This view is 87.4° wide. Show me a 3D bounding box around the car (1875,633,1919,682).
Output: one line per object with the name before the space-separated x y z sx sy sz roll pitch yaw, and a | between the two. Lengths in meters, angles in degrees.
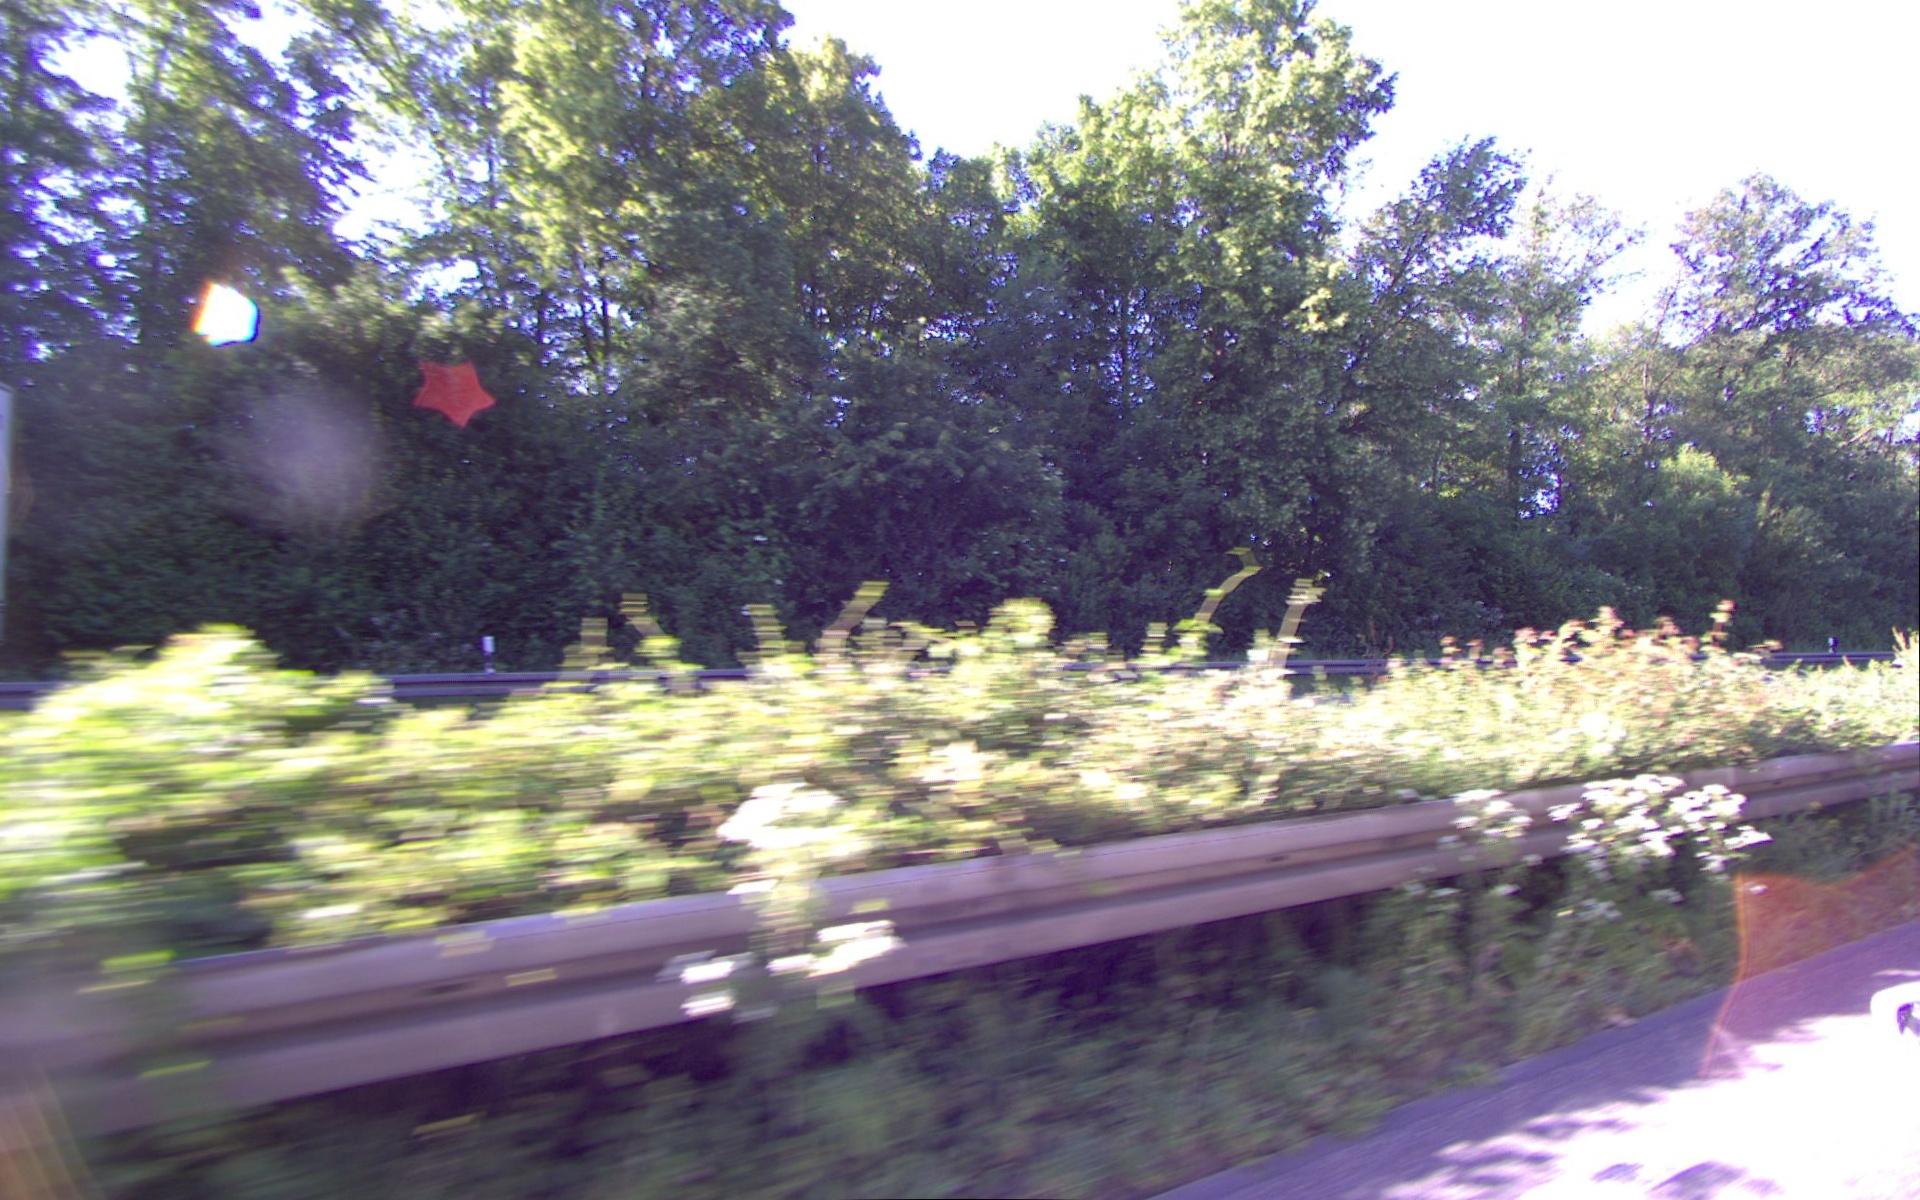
car | 31.003 1.833 31.626 4.457 1.442 1.984 2 0 -30
